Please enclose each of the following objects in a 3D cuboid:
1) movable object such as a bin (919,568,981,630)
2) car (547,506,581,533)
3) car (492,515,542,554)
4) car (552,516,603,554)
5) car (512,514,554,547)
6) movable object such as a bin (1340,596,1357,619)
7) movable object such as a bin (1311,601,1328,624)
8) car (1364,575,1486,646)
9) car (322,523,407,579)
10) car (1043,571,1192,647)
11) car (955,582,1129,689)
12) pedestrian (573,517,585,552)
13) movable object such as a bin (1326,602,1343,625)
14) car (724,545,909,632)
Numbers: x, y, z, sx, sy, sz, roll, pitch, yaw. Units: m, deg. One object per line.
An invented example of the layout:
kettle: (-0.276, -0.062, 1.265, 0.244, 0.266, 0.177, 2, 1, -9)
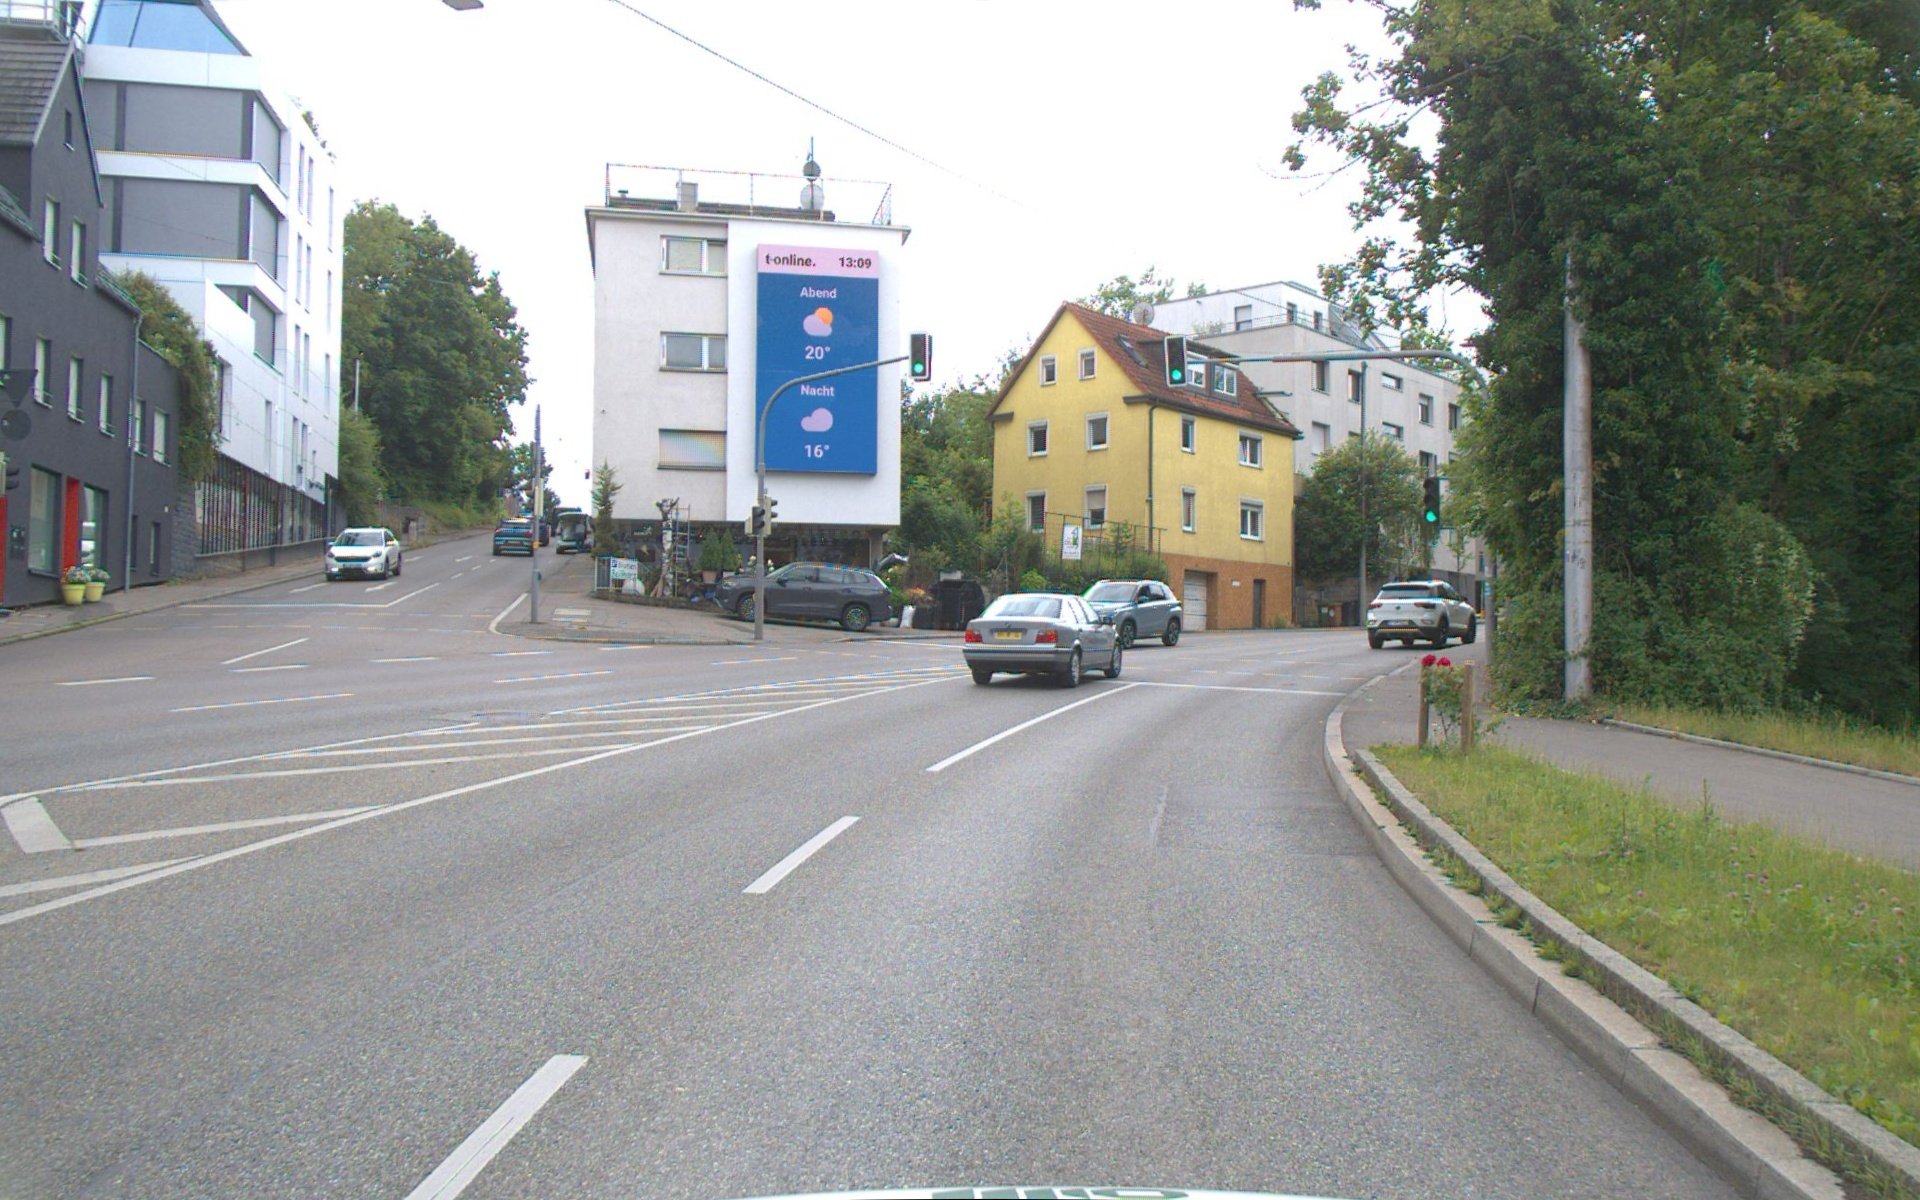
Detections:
movable object such as a bin: (-0.283, -0.043, 49.674, 1.725, 1.810, 1.855, 1, 0, 2)
car: (-24.597, -5.011, 102.842, 1.748, 1.606, 3.991, 2, 3, -10)
car: (-19.459, -2.890, 72.787, 1.748, 1.606, 3.991, 2, 3, -10)
car: (-17.881, -3.005, 77.486, 2.051, 1.641, 3.991, 1, 1, -9)
car: (-21.944, -3.603, 85.031, 1.748, 1.606, 3.991, 2, 3, -10)
movable object such as a bin: (15.446, 0.291, 65.732, 0.556, 0.901, 0.610, 1, 1, 23)
movable object such as a bin: (14.462, 0.515, 66.576, 0.556, 0.901, 0.610, 1, 1, 23)
car: (11.306, 0.238, 40.045, 1.748, 1.606, 3.989, 1, 1, 33)
car: (-18.743, -1.570, 52.215, 1.849, 1.594, 4.379, 0, 3, -11)
car: (3.902, 0.204, 40.334, 1.862, 1.725, 4.336, 1, 0, 32)
car: (1.373, 0.509, 26.024, 1.671, 1.489, 4.002, 2, 1, 19)
pedestrian: (-17.365, -2.979, 75.372, 0.449, 1.556, 0.526, 1, -1, -9)
movable object such as a bin: (14.862, 0.545, 65.676, 0.556, 0.901, 0.610, 1, 1, 23)
car: (-3.852, -0.317, 43.900, 4.605, 1.741, 2.314, 5, 3, -11)
